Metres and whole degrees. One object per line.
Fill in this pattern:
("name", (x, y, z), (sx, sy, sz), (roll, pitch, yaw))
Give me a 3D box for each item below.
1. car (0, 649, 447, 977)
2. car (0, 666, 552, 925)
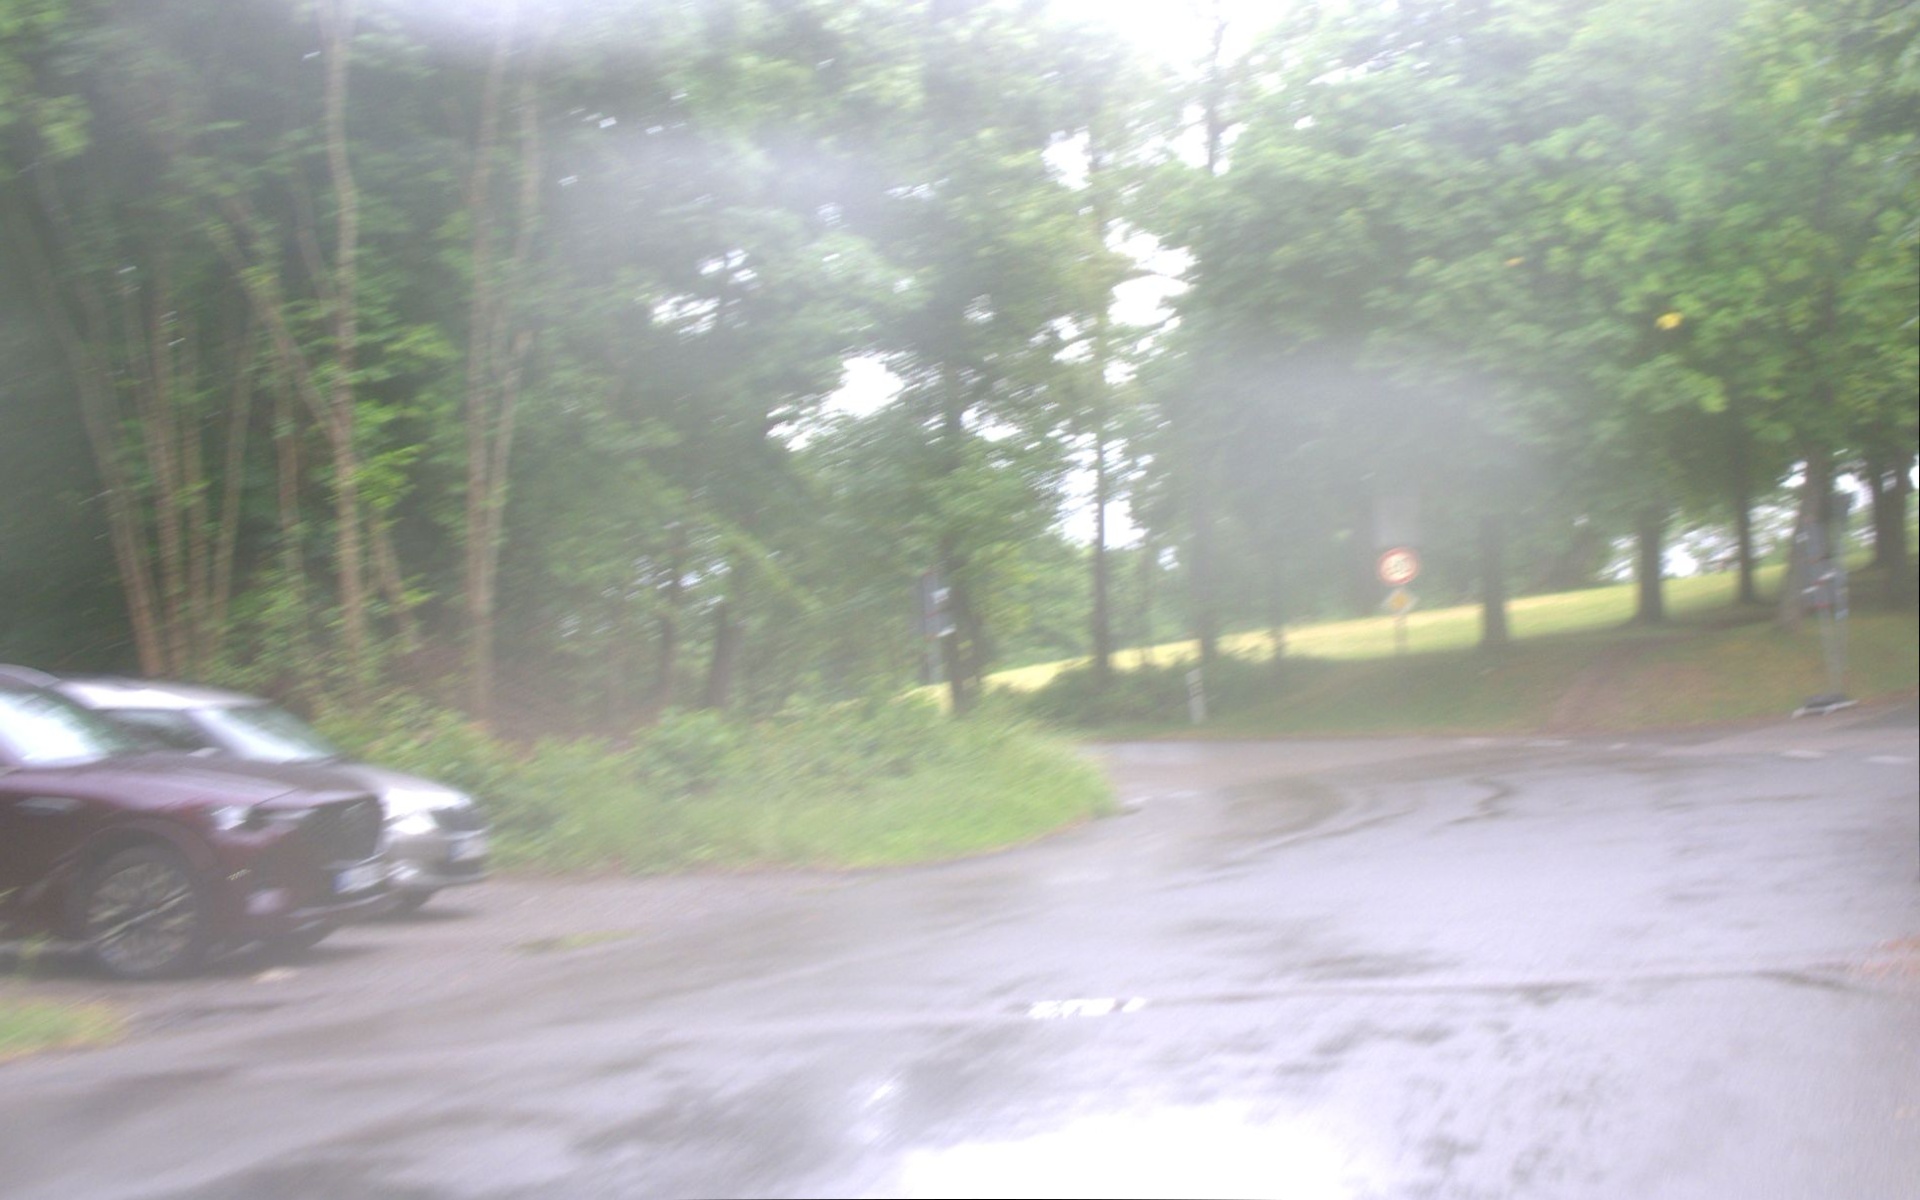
("car", (-5.544, 1.178, 19.522), (4.828, 1.672, 1.875), (-1, 0, 16))
("car", (-4.973, 1.268, 22.682), (4.139, 1.549, 1.772), (-1, 0, 17))
